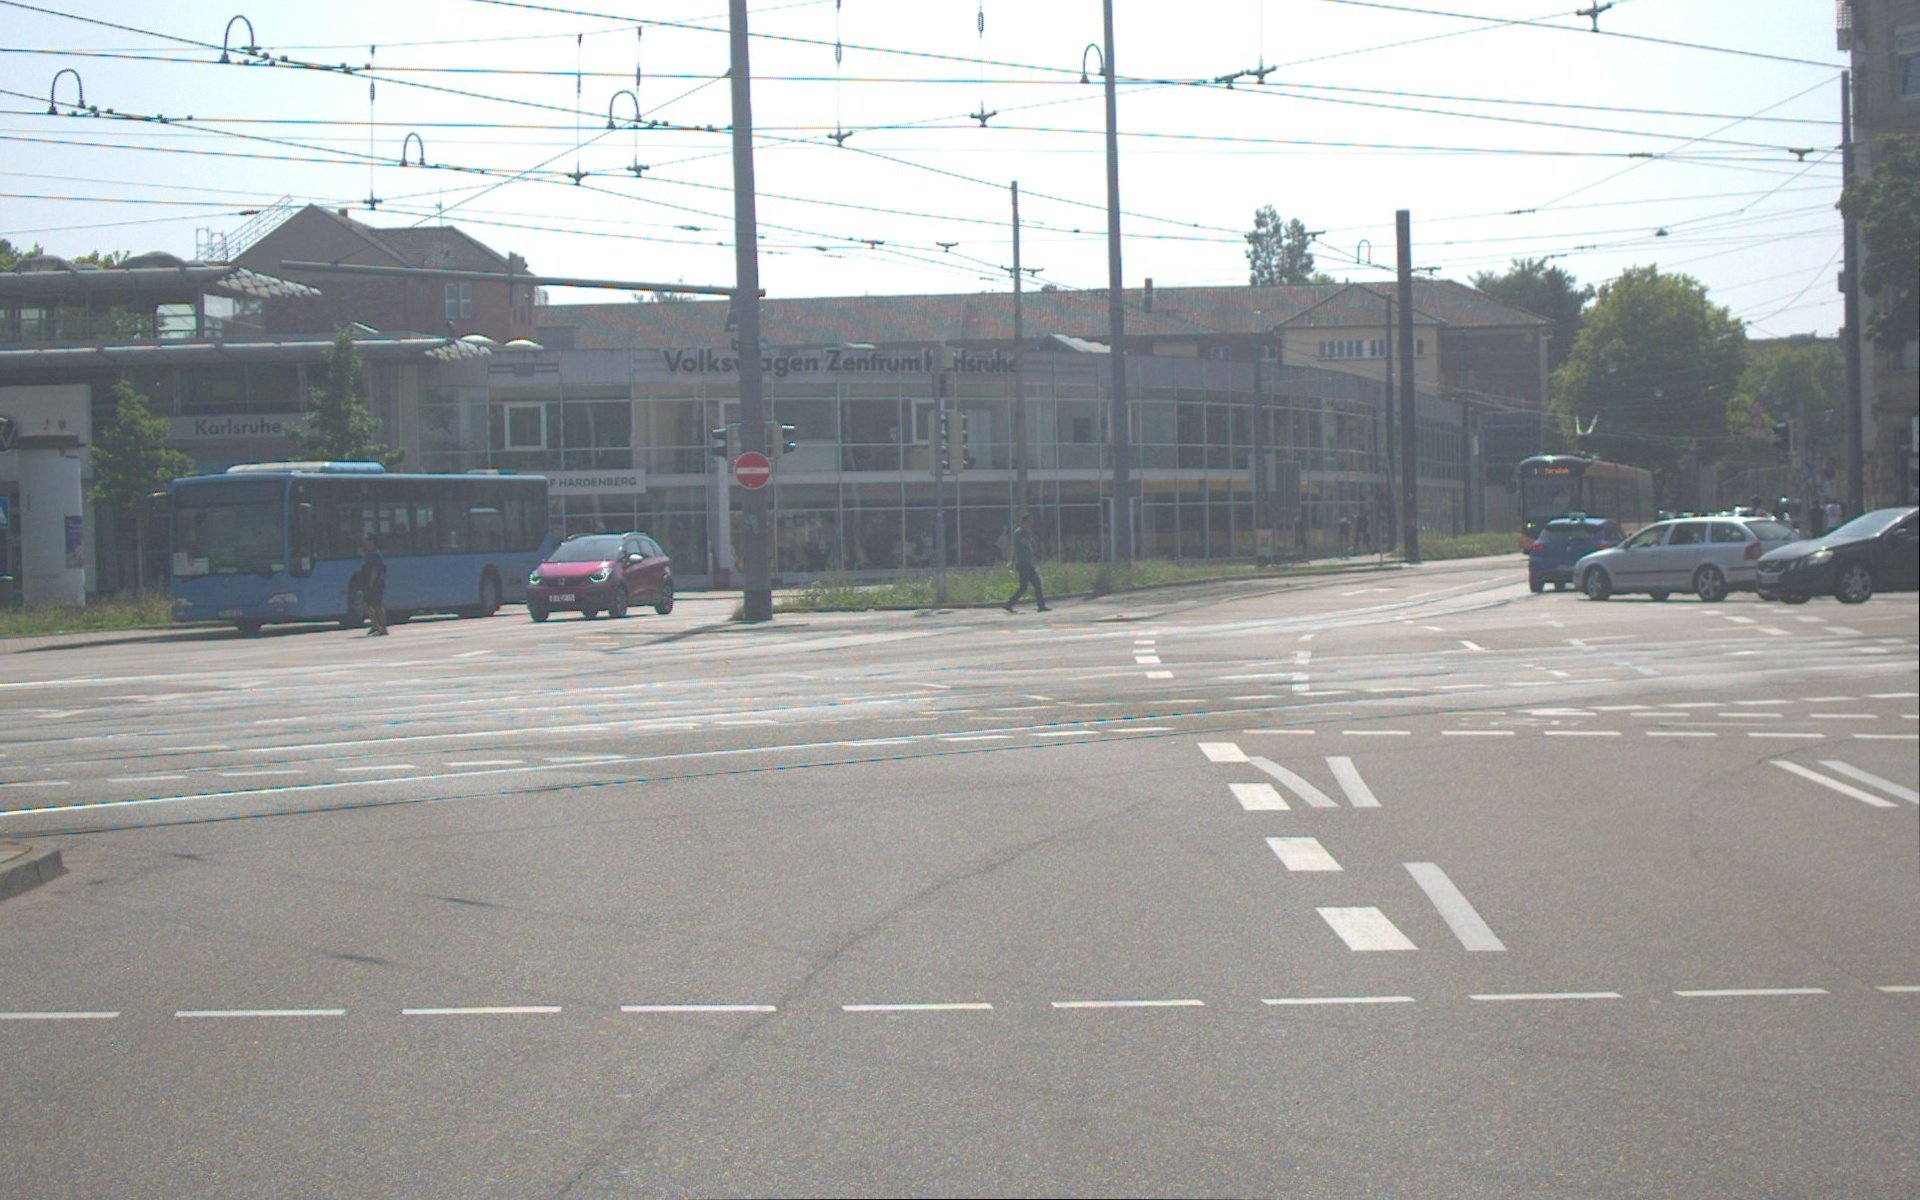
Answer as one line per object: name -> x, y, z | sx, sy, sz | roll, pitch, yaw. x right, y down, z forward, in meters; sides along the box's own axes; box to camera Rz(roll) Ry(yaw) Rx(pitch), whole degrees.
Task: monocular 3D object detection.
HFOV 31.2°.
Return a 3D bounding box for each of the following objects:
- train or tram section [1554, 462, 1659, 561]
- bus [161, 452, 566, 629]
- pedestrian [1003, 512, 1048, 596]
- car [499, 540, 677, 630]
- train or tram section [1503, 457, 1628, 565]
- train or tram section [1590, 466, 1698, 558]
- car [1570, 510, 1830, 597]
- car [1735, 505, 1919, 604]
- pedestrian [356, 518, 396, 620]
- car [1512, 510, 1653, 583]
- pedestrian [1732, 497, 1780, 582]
train or tram section -> 24.103, -3.273, 127.879 | 2.590, 3.504, 9.651 | -1, 1, 18
bus -> -11.239, -1.186, 66.594 | 2.564, 3.072, 12.014 | -1, 1, 17
pedestrian -> 1.128, -0.791, 59.574 | 0.676, 1.438, 0.366 | -1, 1, -17
car -> -6.808, -0.302, 63.330 | 1.751, 1.546, 3.997 | -1, 1, 18
train or tram section -> 20.881, -3.053, 118.080 | 2.590, 3.504, 10.889 | -1, 1, 19
train or tram section -> 27.658, -3.533, 138.630 | 2.590, 3.504, 12.961 | -1, 1, 19
car -> 12.722, -0.798, 59.283 | 1.771, 1.411, 4.187 | -2, 2, -39
car -> 14.247, -0.722, 51.886 | 4.752, 1.411, 1.776 | -2, 1, -19
pedestrian -> -9.673, -0.515, 56.911 | 0.552, 1.678, 0.454 | -1, 1, -18
car -> 12.406, -1.079, 68.347 | 1.593, 1.389, 3.994 | -1, 1, 28
pedestrian -> 15.165, -1.155, 65.499 | 0.699, 1.597, 0.573 | -1, 1, -7
